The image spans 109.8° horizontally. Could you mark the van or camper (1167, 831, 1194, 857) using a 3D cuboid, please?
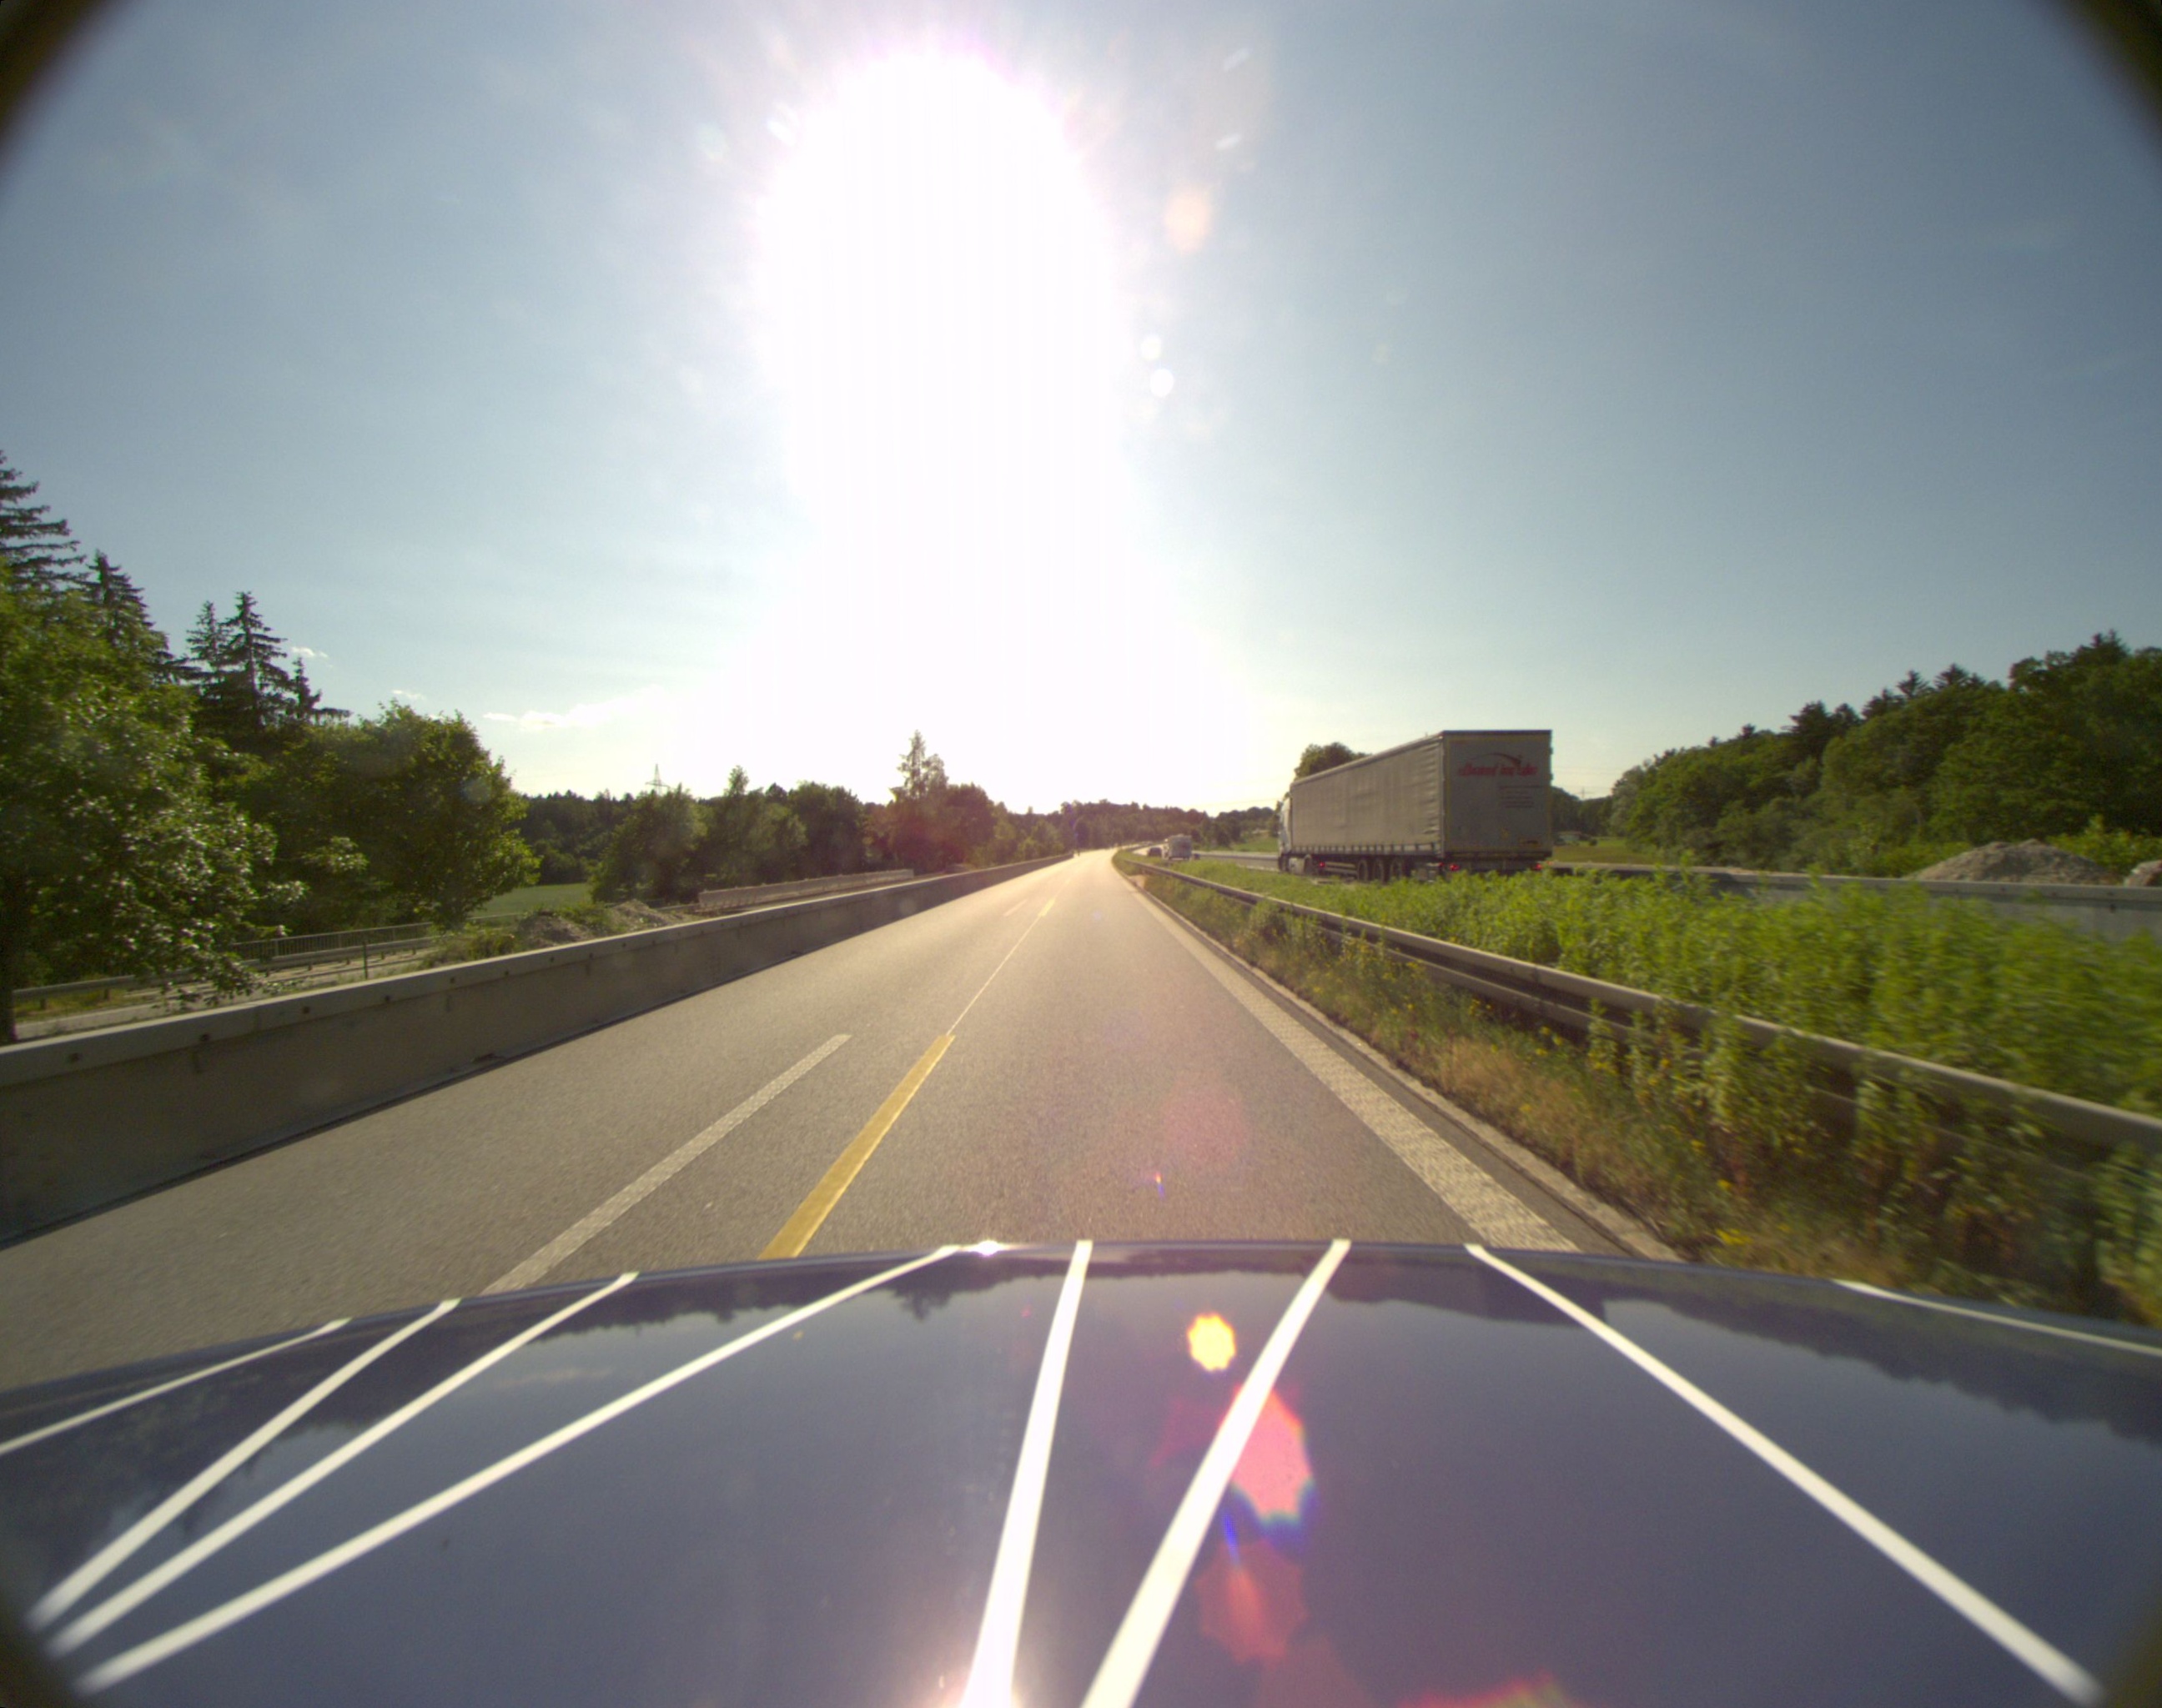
[{"bbox_3d":[11.672,-1.201,89.929,2.412,2.933,7.522,-2,1,2],"label":"van or camper"}]

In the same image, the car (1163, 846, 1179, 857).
[{"bbox_3d":[12.364,-0.402,104.438,1.745,1.424,5.235,1,1,2],"label":"car"}]

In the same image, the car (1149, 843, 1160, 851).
[{"bbox_3d":[15.100,-1.442,156.982,1.887,1.424,4.983,-2,1,2],"label":"car"}]

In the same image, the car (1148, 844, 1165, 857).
[{"bbox_3d":[9.171,-0.403,92.551,1.746,1.521,4.000,0,1,2],"label":"car"}]

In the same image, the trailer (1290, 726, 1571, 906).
[{"bbox_3d":[9.833,-0.931,24.178,2.748,4.047,13.995,-1,1,1],"label":"trailer"}]

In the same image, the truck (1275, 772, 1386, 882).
[{"bbox_3d":[9.982,-1.026,31.004,2.777,4.064,5.475,-1,1,1],"label":"truck"}]
